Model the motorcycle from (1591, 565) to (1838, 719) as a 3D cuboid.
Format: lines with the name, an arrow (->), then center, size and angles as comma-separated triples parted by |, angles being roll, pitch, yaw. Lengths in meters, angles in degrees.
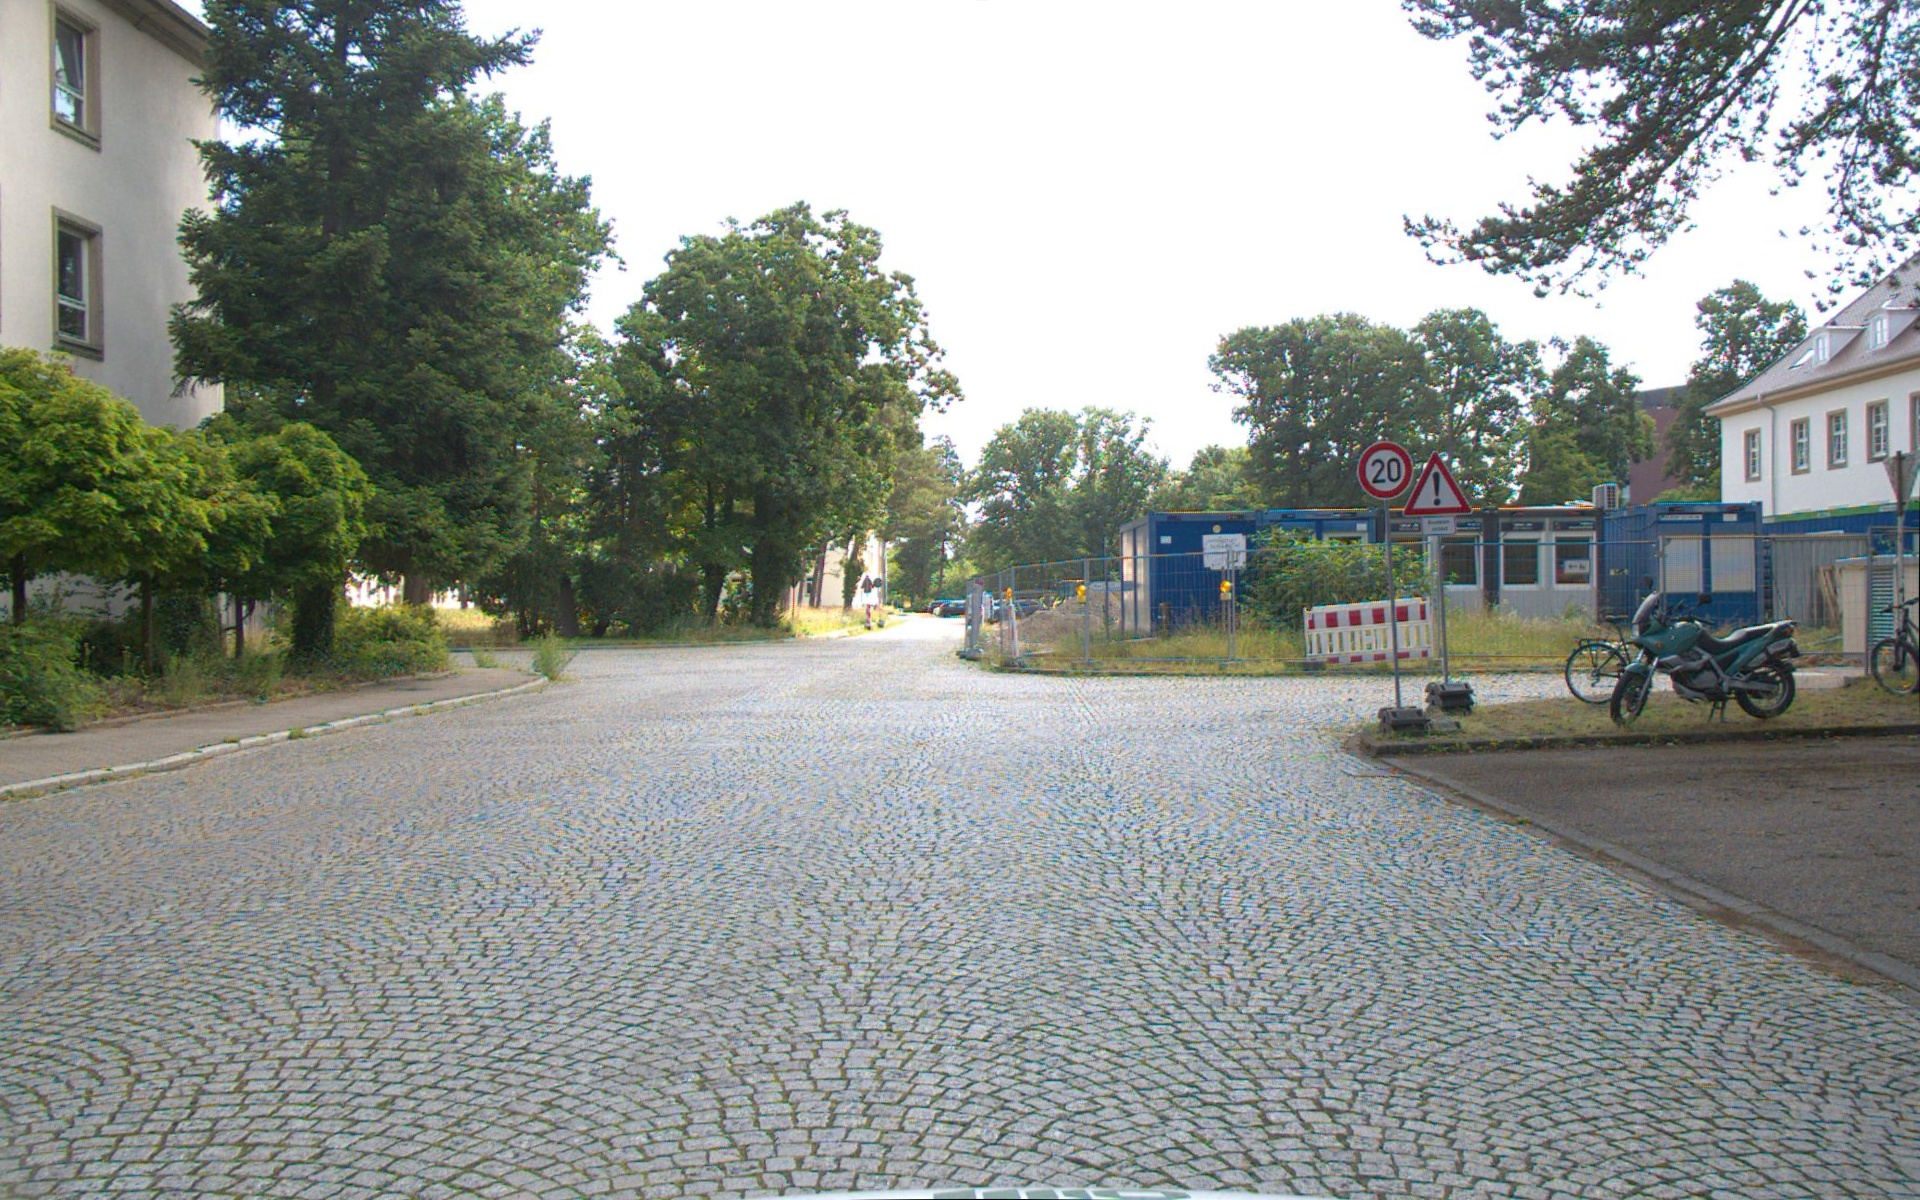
motorcycle -> 7.840, 0.422, 17.227 | 2.232, 1.511, 0.756 | -1, 0, -5

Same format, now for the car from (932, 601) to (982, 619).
car -> -0.290, 0.972, 159.358 | 4.687, 1.669, 1.998 | 0, 0, -5

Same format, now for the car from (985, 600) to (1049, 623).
car -> 3.986, 0.802, 115.348 | 4.308, 1.537, 2.002 | 0, 0, 8

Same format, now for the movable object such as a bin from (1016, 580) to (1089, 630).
movable object such as a bin -> 5.095, 0.266, 90.297 | 2.088, 2.638, 4.783 | -1, 0, 29

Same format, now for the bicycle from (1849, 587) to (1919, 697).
bicycle -> 10.799, 0.450, 18.589 | 0.629, 1.189, 1.905 | -1, 0, 2

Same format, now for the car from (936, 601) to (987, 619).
car -> 0.135, 0.964, 156.255 | 4.687, 1.669, 1.998 | 0, 0, -5

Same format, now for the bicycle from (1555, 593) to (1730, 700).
bicycle -> 8.064, 0.549, 19.618 | 1.859, 1.218, 0.656 | -1, 0, 20

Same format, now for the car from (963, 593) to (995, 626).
car -> 1.229, 0.619, 108.215 | 1.953, 2.049, 4.090 | 0, 0, -1
